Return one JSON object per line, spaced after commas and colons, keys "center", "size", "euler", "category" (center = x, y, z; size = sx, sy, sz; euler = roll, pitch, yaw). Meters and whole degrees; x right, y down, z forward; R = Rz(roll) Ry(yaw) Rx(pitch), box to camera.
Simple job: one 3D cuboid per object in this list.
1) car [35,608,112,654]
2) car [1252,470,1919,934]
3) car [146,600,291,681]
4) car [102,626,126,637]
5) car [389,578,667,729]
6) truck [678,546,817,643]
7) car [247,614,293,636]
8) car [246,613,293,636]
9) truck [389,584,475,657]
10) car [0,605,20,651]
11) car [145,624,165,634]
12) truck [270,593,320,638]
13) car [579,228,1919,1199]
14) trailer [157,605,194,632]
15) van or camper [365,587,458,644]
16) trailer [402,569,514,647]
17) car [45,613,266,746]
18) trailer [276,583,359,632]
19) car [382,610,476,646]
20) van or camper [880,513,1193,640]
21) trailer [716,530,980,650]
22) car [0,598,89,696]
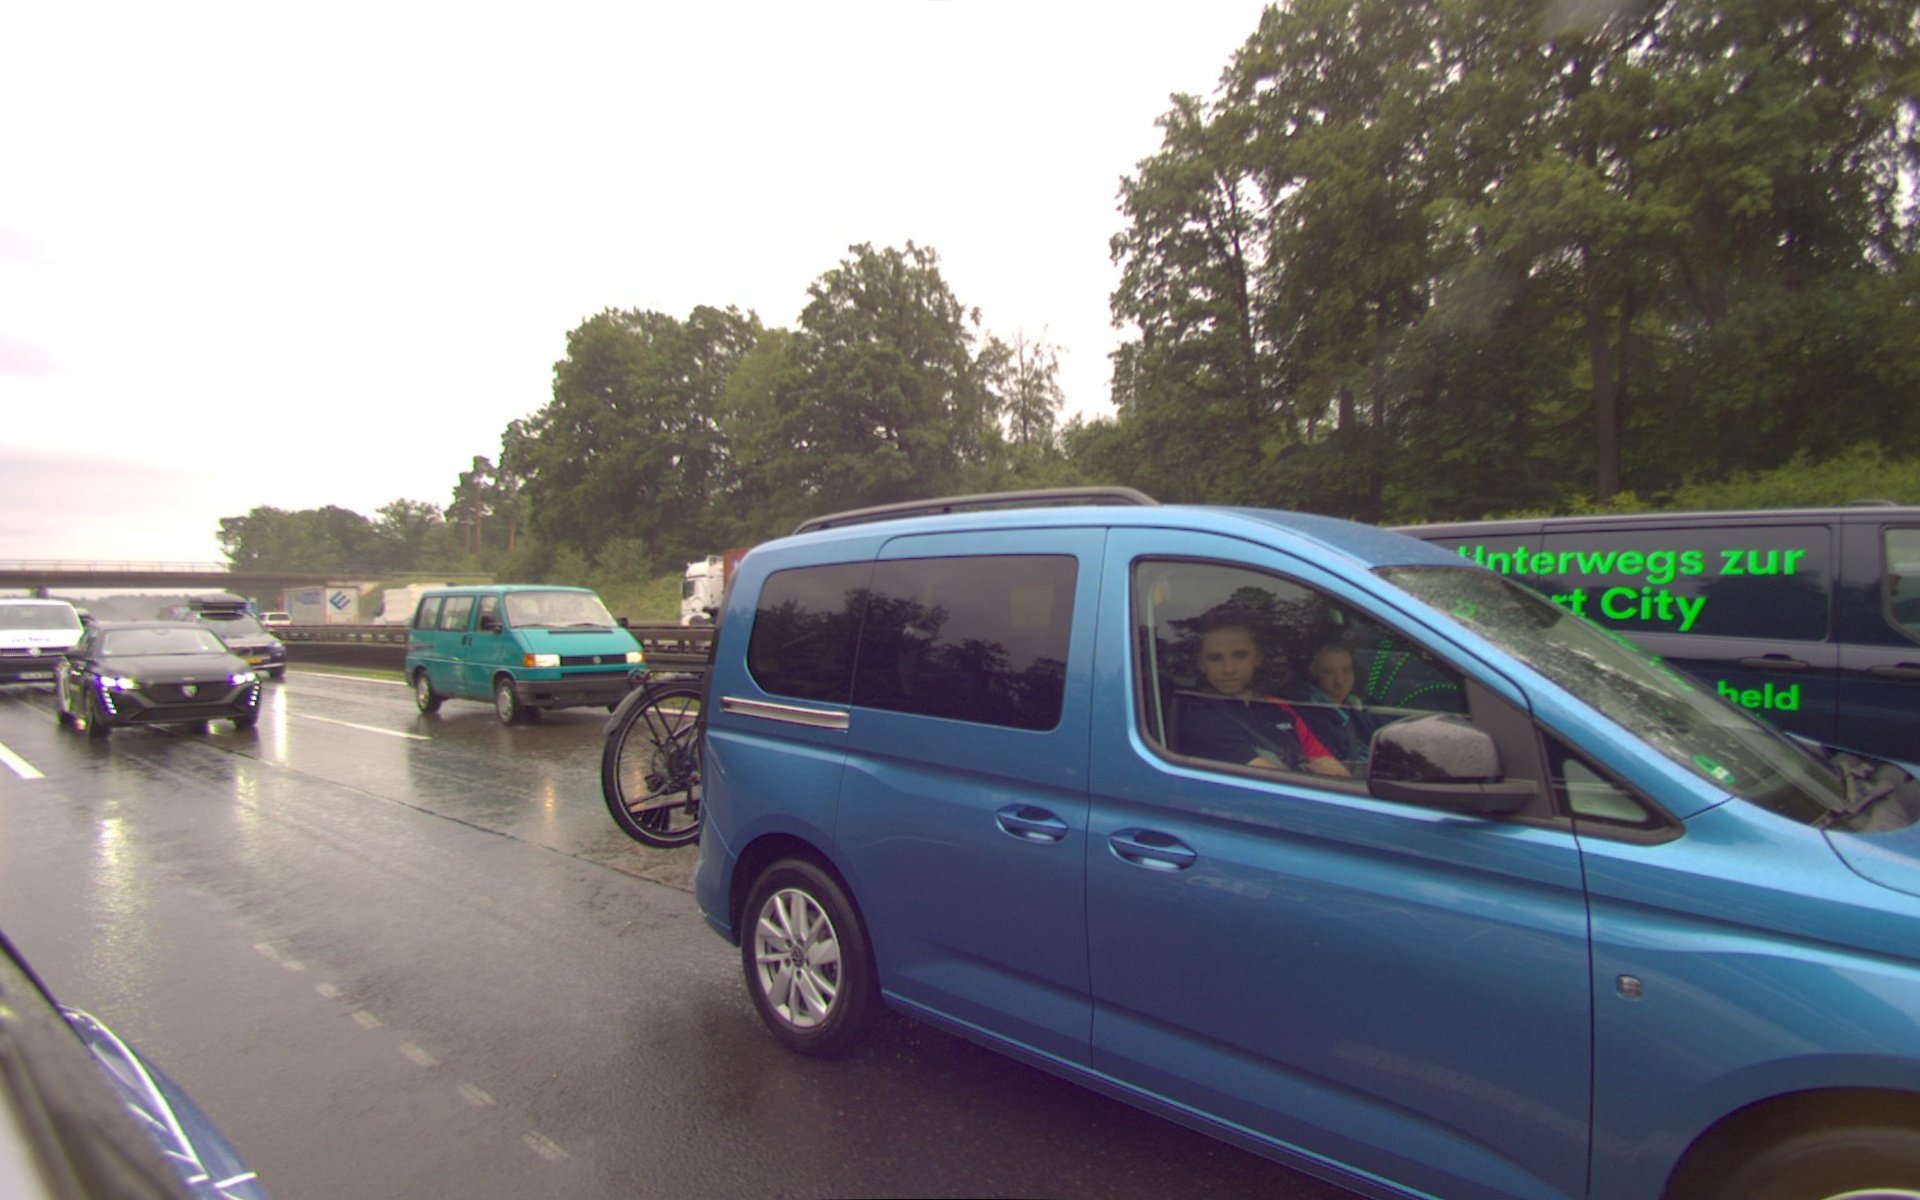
{"center": [-38.319, 1.302, 43.698], "size": [4.605, 1.839, 1.956], "euler": [-1, 0, 42], "category": "car"}
{"center": [4.425, 0.428, 5.260], "size": [5.240, 1.958, 1.971], "euler": [-1, 0, 41], "category": "car"}
{"center": [-18.691, 0.960, 25.434], "size": [4.604, 1.839, 1.956], "euler": [-1, 0, 41], "category": "car"}
{"center": [-116.135, 4.304, 138.846], "size": [4.707, 1.519, 1.971], "euler": [-2, -2, 43], "category": "car"}
{"center": [-6.447, 0.687, 14.828], "size": [4.757, 1.877, 1.890], "euler": [-1, 0, 42], "category": "car"}
{"center": [-9.225, -0.166, 43.492], "size": [6.263, 3.847, 2.675], "euler": [-2, -1, 42], "category": "truck"}
{"center": [-57.037, 2.061, 83.583], "size": [5.037, 1.783, 1.972], "euler": [-2, -2, 42], "category": "car"}
{"center": [-57.006, 2.002, 83.506], "size": [5.220, 1.839, 1.956], "euler": [-1, 0, 41], "category": "car"}
{"center": [-30.350, 1.176, 58.032], "size": [6.537, 3.984, 2.351], "euler": [-1, -2, 43], "category": "truck"}
{"center": [-34.747, 1.023, 35.743], "size": [4.768, 1.572, 1.968], "euler": [-2, -1, 44], "category": "car"}
{"center": [-106.778, 3.814, 134.201], "size": [3.758, 1.314, 1.682], "euler": [-2, -1, 44], "category": "car"}
{"center": [-60.941, 1.464, 92.742], "size": [4.891, 3.984, 2.674], "euler": [-1, -2, 43], "category": "truck"}
{"center": [1.044, 0.451, 3.302], "size": [5.014, 1.926, 2.245], "euler": [-2, -1, 42], "category": "car"}
{"center": [-117.295, 2.770, 151.190], "size": [2.989, 3.847, 13.571], "euler": [0, -1, -44], "category": "trailer"}
{"center": [-26.301, 0.776, 48.439], "size": [6.121, 2.567, 2.173], "euler": [-2, -2, 44], "category": "van or camper"}
{"center": [-27.646, 0.491, 55.506], "size": [9.422, 3.984, 2.351], "euler": [-1, -2, 43], "category": "trailer"}
{"center": [-11.091, 0.940, 13.834], "size": [4.468, 1.516, 1.825], "euler": [-1, -1, 44], "category": "car"}
{"center": [-56.168, 0.758, 88.222], "size": [13.960, 3.984, 2.690], "euler": [-1, -2, 43], "category": "trailer"}
{"center": [-19.548, 1.040, 37.165], "size": [4.206, 1.228, 1.679], "euler": [-2, -1, 42], "category": "car"}
{"center": [1.822, -0.493, 28.009], "size": [8.785, 3.001, 2.812], "euler": [-1, 0, 43], "category": "van or camper"}
{"center": [-4.771, -0.254, 39.412], "size": [12.369, 4.056, 2.591], "euler": [-1, 0, 42], "category": "trailer"}
{"center": [-20.044, 0.967, 21.462], "size": [4.769, 1.894, 1.967], "euler": [-2, -1, 44], "category": "car"}
